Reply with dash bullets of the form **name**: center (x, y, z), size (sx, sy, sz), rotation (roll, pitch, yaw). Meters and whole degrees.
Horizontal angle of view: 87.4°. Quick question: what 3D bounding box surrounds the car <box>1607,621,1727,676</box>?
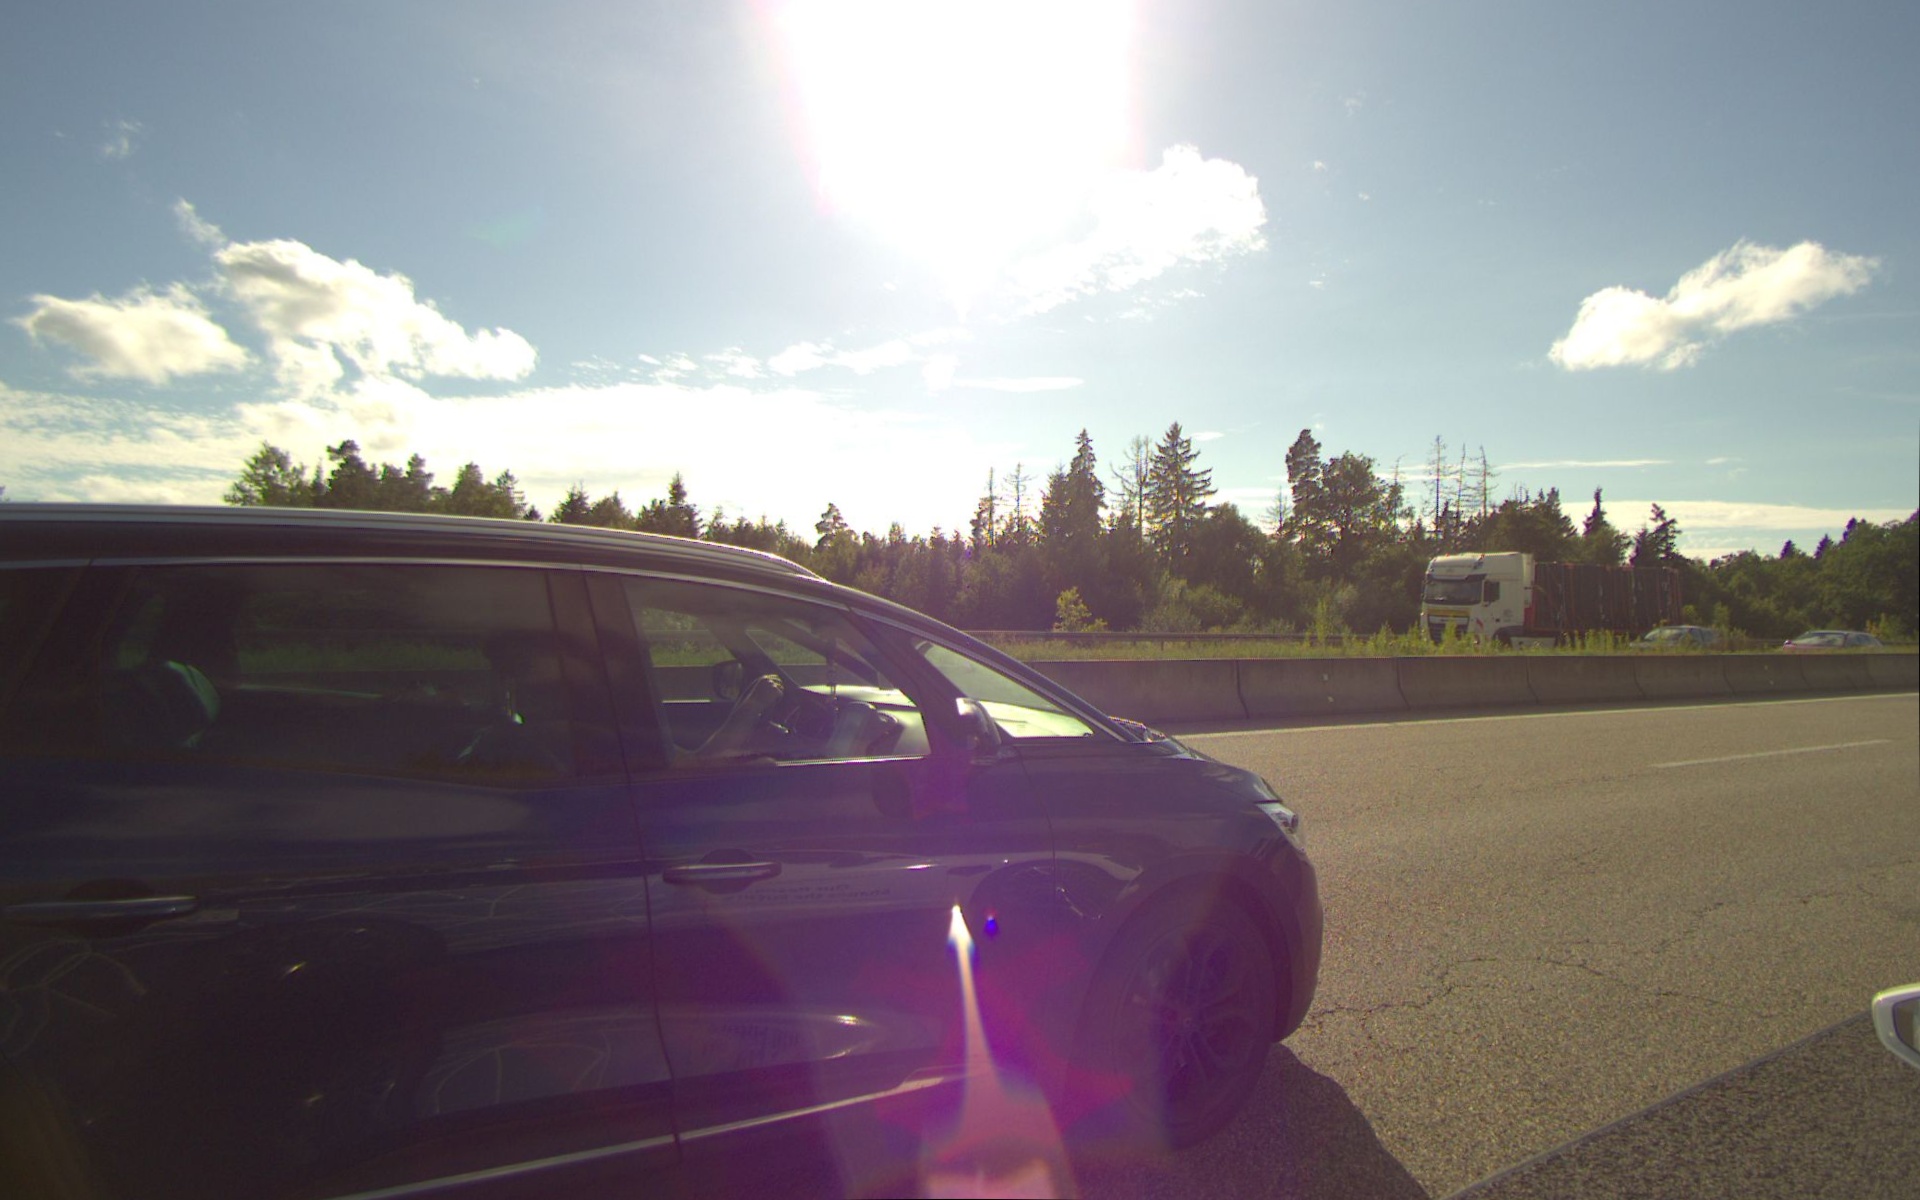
- **car**: center (25.124, 1.694, 35.673), size (3.952, 1.826, 1.985), rotation (1, 0, -29)

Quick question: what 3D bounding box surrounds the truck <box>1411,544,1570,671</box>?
- **truck**: center (19.921, 0.322, 37.724), size (5.399, 4.450, 2.789), rotation (1, 0, -30)

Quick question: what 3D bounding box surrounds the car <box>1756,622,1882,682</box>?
- **car**: center (28.728, 1.706, 33.577), size (3.952, 1.826, 1.985), rotation (1, 0, -29)

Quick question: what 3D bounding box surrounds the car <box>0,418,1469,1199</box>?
- **car**: center (-0.776, 0.619, 3.027), size (4.475, 1.729, 1.984), rotation (1, 0, -30)

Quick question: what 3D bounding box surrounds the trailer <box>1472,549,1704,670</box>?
- **trailer**: center (25.981, 0.456, 41.259), size (11.907, 4.450, 2.789), rotation (1, 0, -30)
